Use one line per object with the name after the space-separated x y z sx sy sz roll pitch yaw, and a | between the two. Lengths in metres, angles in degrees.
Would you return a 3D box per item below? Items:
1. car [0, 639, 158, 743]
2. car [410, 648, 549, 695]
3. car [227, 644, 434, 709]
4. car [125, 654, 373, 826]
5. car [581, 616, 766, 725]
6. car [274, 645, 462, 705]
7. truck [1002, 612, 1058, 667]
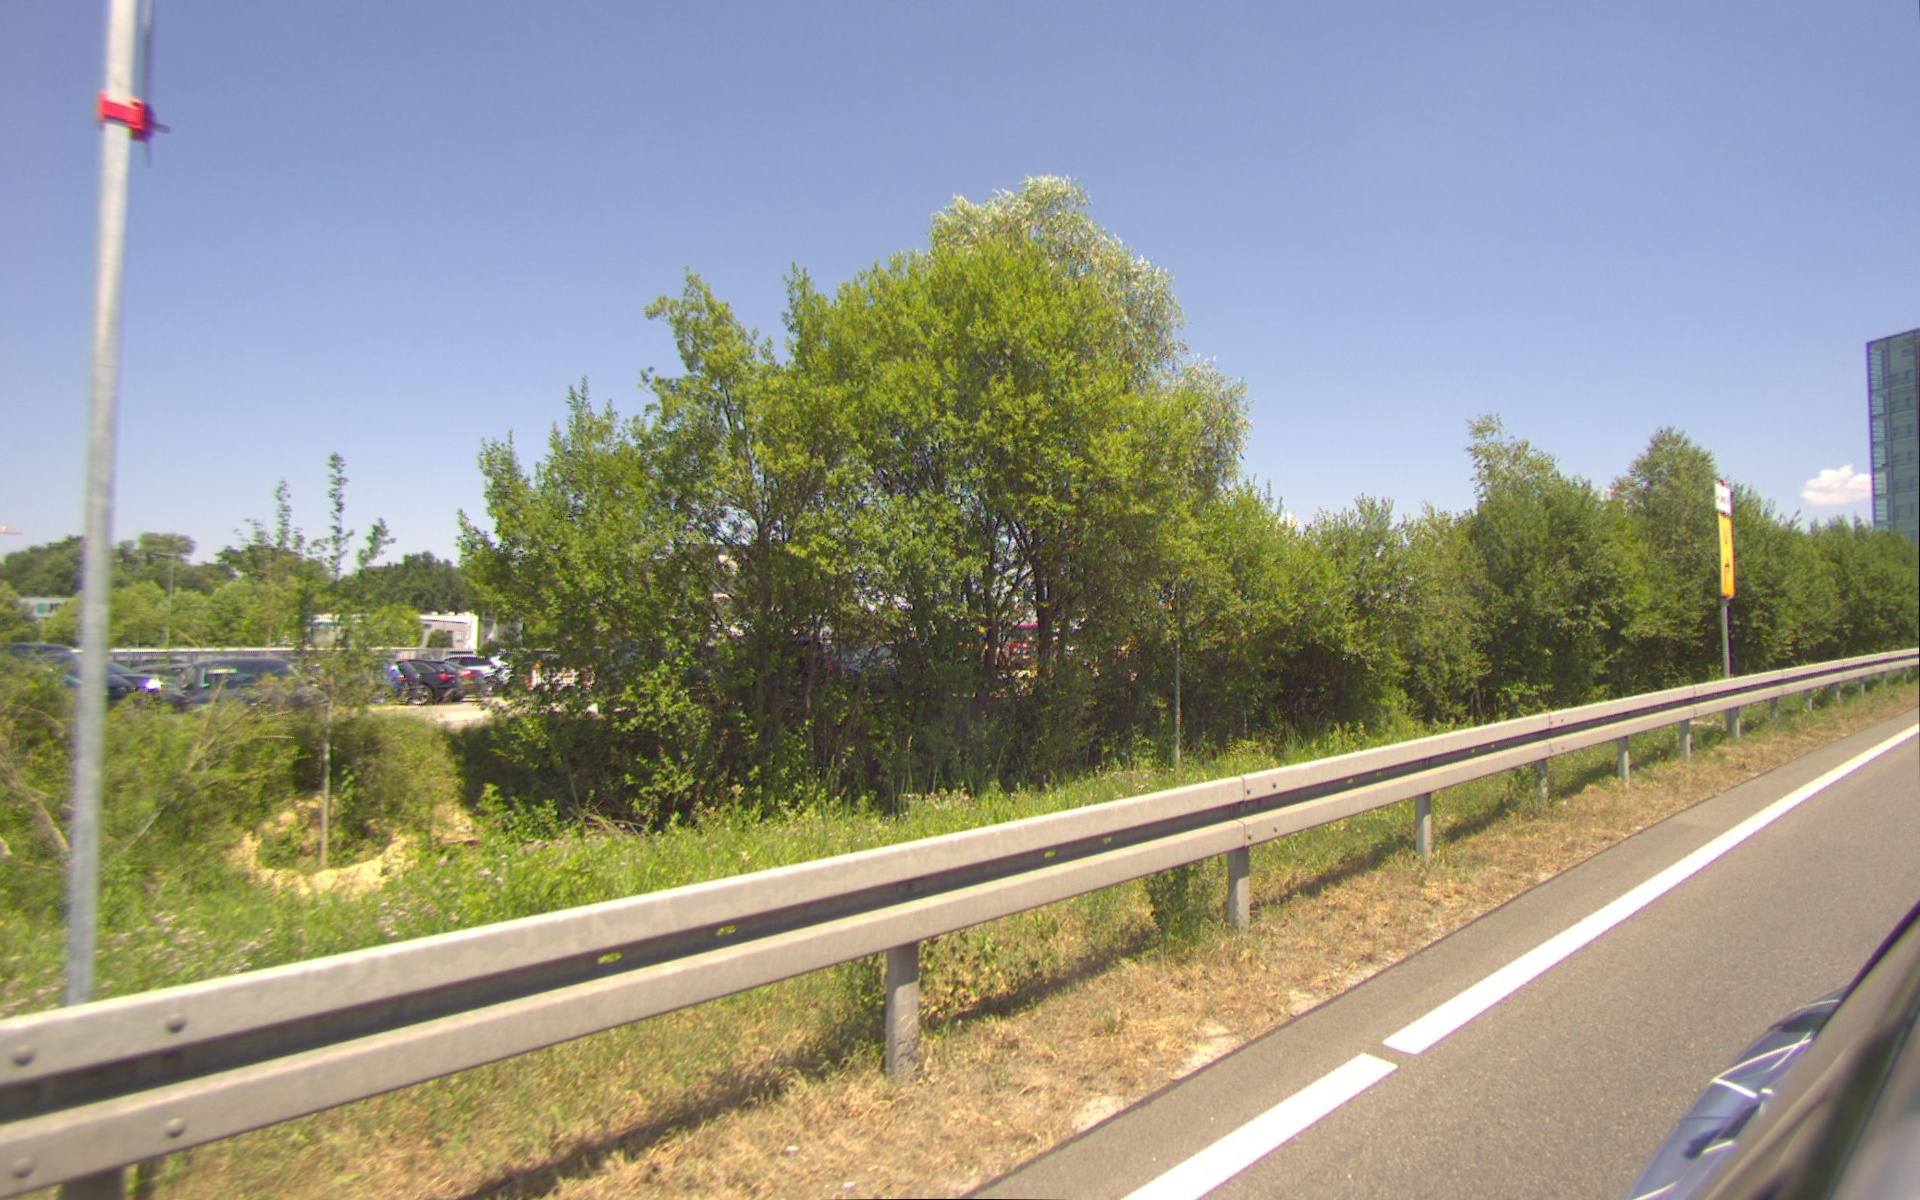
-21.220 1.974 22.331 5.045 2.200 2.003 1 -4 -13 | car
-18.501 2.760 39.164 4.473 1.758 2.003 1 -4 -13 | car
-17.600 2.148 28.533 4.473 1.758 2.003 1 -4 -13 | car
-11.535 2.037 16.266 5.213 2.288 2.102 -3 -5 42 | car
-6.052 1.429 21.008 1.964 1.995 4.687 3 -4 -39 | car
-17.897 2.280 30.831 4.473 1.758 2.003 1 -4 -13 | car
5.242 2.999 74.079 3.081 3.733 9.385 0 -3 10 | truck
